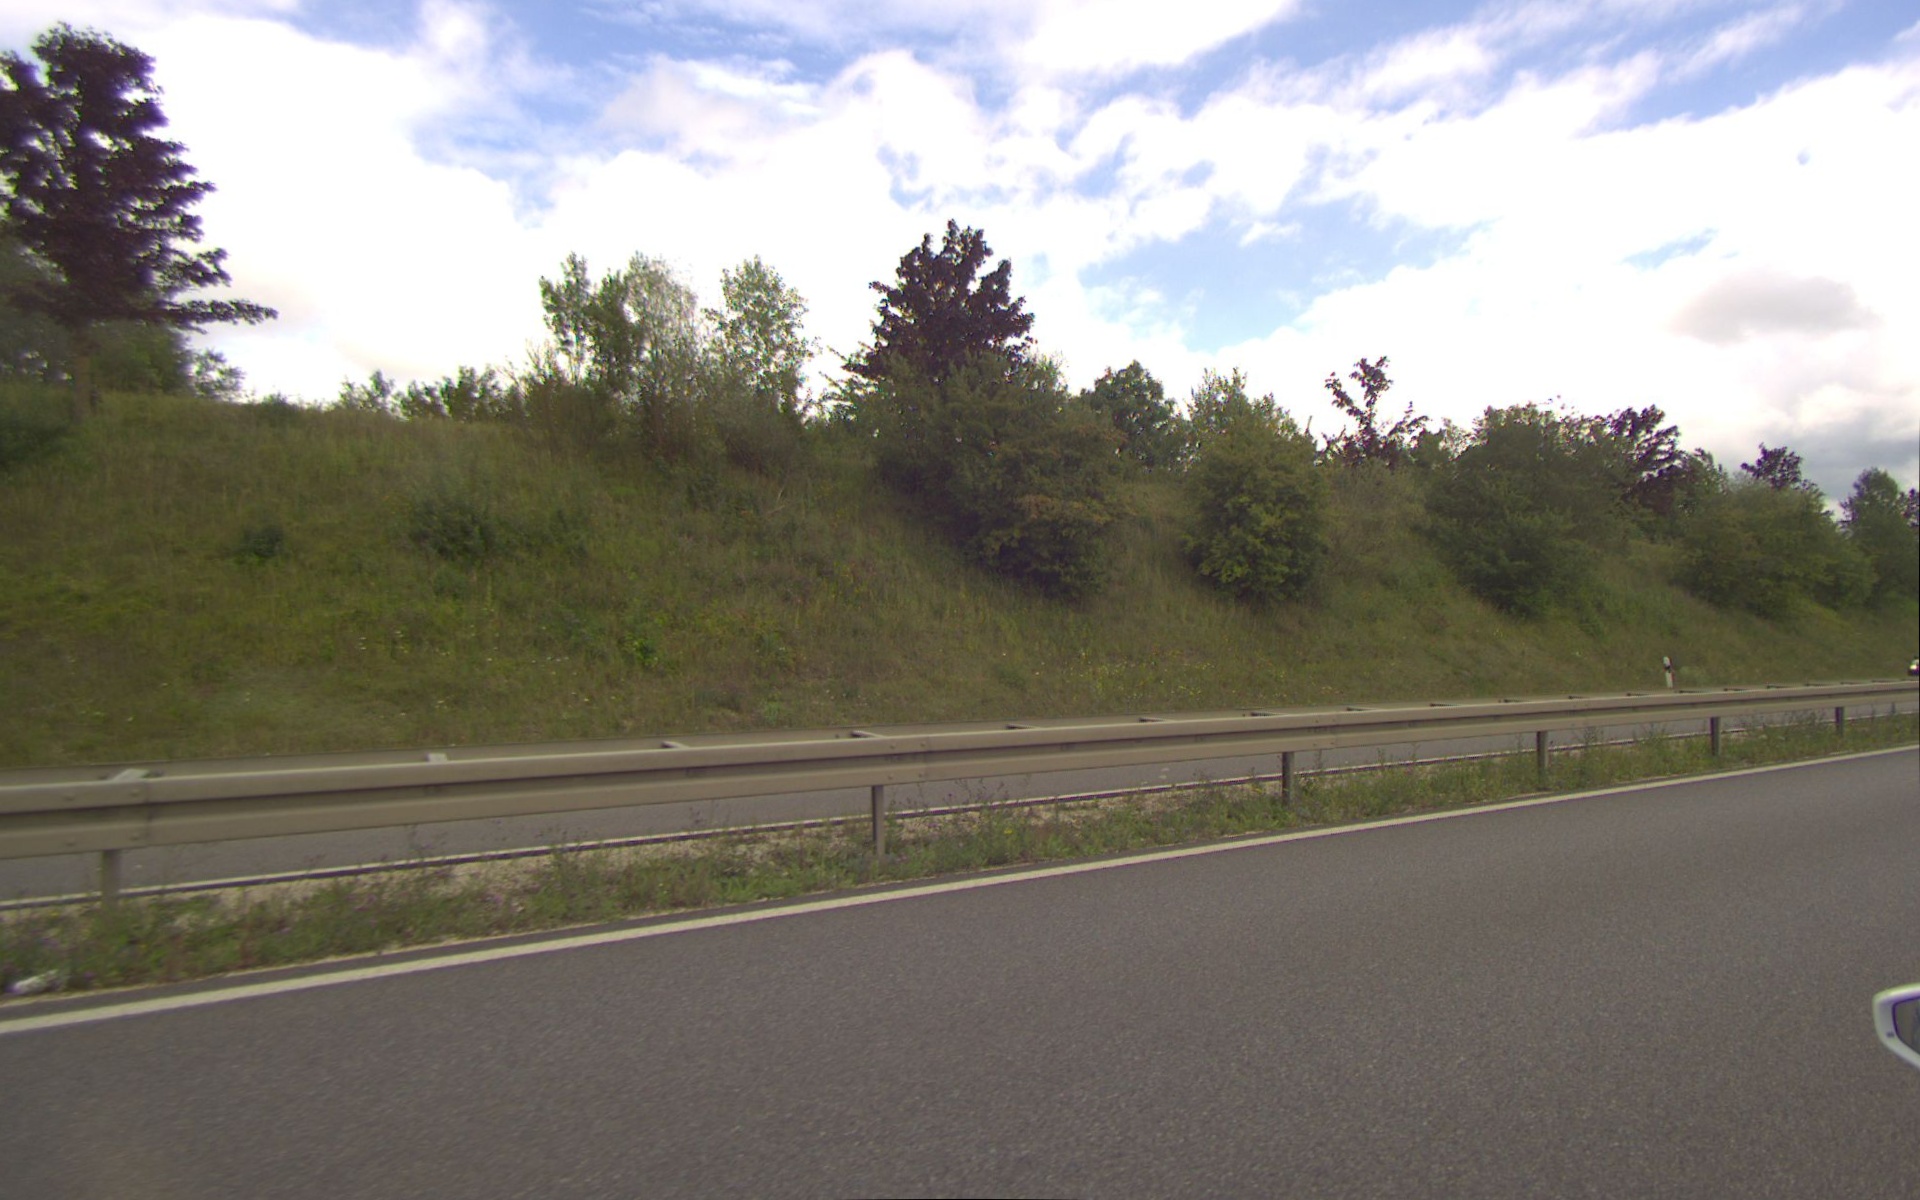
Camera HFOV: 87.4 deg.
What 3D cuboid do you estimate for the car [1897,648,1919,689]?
[{"bbox_3d":[34.197,2.310,34.290,4.766,1.322,1.984,1,-2,-31],"label":"car"}]
